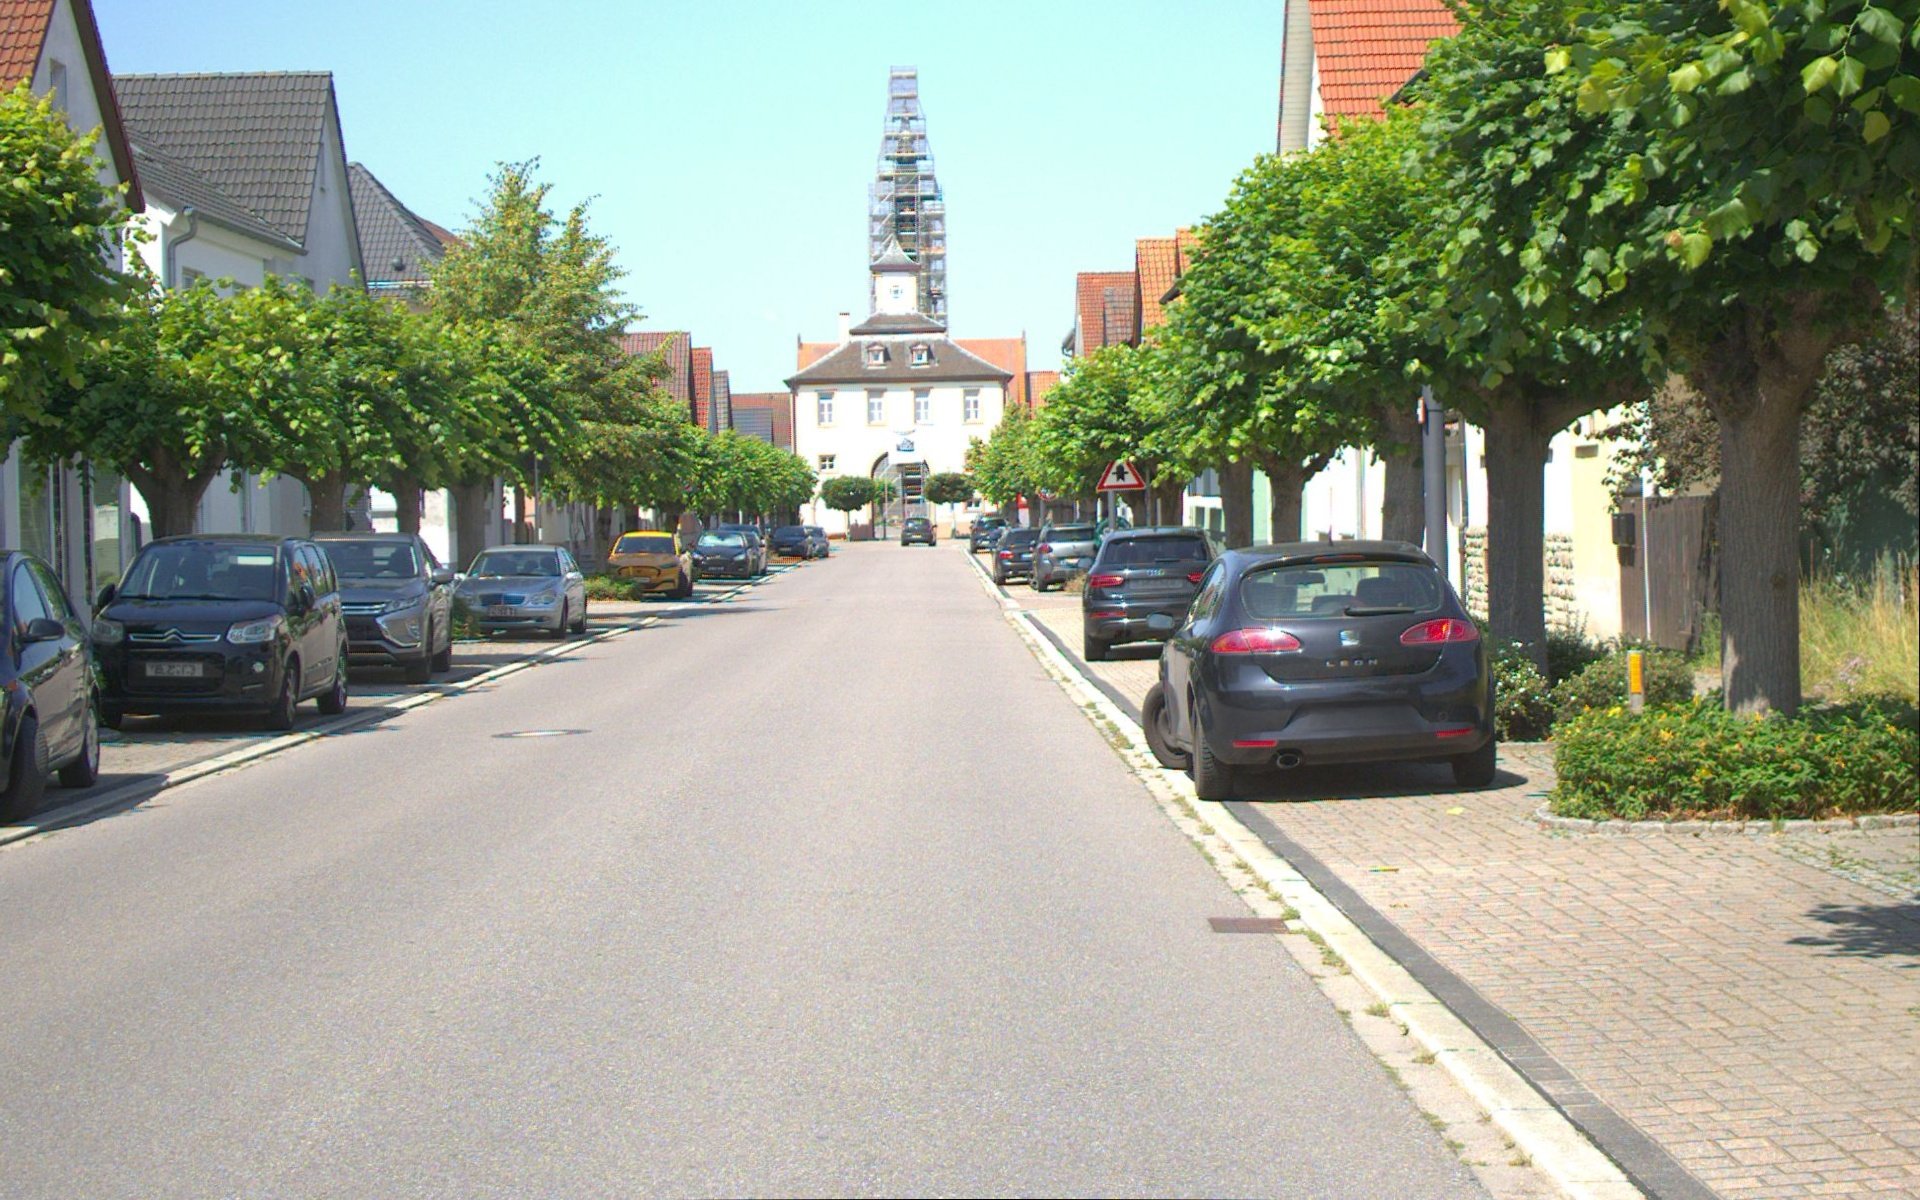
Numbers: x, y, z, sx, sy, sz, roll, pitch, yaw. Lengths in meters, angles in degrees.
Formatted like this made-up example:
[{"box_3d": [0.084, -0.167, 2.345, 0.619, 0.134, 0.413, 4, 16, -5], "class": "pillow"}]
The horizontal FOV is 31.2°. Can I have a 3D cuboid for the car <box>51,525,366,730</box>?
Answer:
[{"box_3d": [-6.402, 0.201, 29.715, 1.853, 1.629, 4.057, 1, 1, -1], "class": "car"}]

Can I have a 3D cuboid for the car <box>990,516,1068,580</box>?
[{"box_3d": [1.794, -1.373, 90.329, 1.837, 1.550, 4.314, -3, 1, -1], "class": "car"}]

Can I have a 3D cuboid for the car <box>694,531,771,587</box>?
[{"box_3d": [-6.881, -1.262, 104.545, 1.993, 1.606, 4.689, 0, 2, 1], "class": "car"}]

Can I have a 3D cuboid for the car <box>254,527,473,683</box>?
[{"box_3d": [-6.671, 0.011, 38.853, 1.993, 1.647, 4.368, 0, 1, -4], "class": "car"}]

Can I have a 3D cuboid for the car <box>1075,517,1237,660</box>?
[{"box_3d": [2.415, -0.181, 42.224, 1.824, 1.580, 4.056, -3, 1, 3], "class": "car"}]

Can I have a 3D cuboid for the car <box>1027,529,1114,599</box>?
[{"box_3d": [2.639, -0.887, 82.758, 1.837, 1.602, 4.001, -1, 1, -2], "class": "car"}]

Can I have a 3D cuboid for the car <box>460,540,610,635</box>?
[{"box_3d": [-6.518, -0.222, 53.140, 1.840, 1.391, 4.407, 0, 1, -1], "class": "car"}]

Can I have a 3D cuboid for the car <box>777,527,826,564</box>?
[{"box_3d": [-7.051, -2.430, 153.253, 1.993, 1.606, 3.855, 0, 1, 1], "class": "car"}]

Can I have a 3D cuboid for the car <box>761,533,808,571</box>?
[{"box_3d": [-7.512, -2.065, 147.515, 1.757, 1.550, 4.020, -1, 1, 0], "class": "car"}]

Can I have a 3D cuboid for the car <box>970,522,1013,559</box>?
[{"box_3d": [1.392, -2.668, 153.173, 1.837, 1.550, 4.314, -3, 1, 0], "class": "car"}]

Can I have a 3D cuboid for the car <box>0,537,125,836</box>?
[{"box_3d": [-6.204, 0.440, 20.654, 1.785, 1.628, 4.001, 0, 1, -6], "class": "car"}]

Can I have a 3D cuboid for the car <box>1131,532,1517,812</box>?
[{"box_3d": [2.115, 0.359, 21.033, 1.824, 1.427, 4.057, -3, 1, 0], "class": "car"}]

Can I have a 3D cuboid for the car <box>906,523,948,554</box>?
[{"box_3d": [-1.702, -3.179, 178.729, 1.730, 1.542, 3.454, 1, 1, 7], "class": "car"}]

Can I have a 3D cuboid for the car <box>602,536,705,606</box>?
[{"box_3d": [-7.369, -0.726, 83.031, 1.993, 1.606, 4.689, 0, 1, 1], "class": "car"}]
